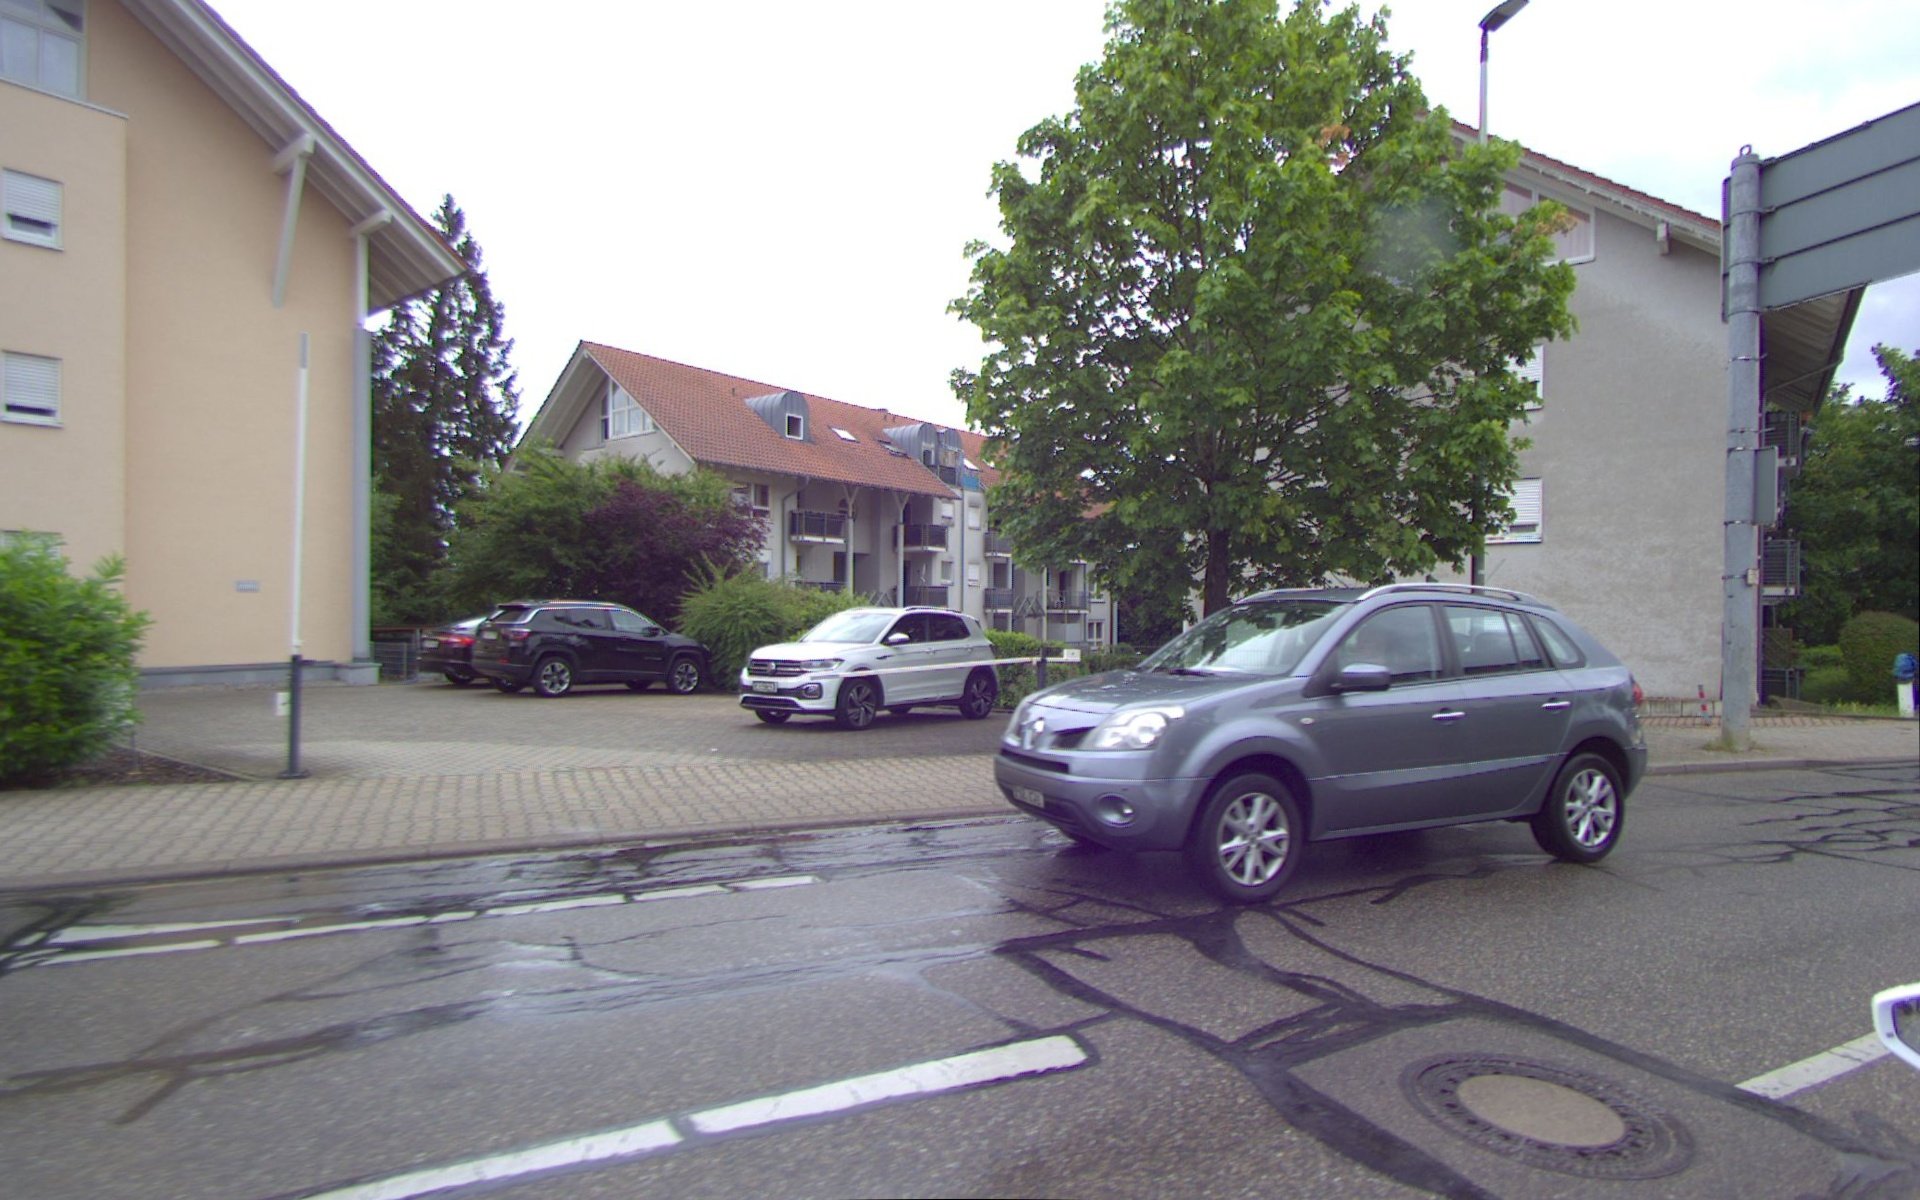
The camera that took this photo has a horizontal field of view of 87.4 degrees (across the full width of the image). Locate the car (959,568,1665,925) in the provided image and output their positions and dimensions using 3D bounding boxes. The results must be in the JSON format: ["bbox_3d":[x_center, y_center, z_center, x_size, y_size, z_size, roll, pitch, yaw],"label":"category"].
[{"bbox_3d":[2.297,0.758,6.501,4.209,1.679,1.896,2,-2,-25],"label":"car"}]

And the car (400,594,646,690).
[{"bbox_3d":[-8.564,0.852,19.921,1.971,1.672,3.979,1,-2,42],"label":"car"}]

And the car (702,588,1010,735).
[{"bbox_3d":[-1.279,0.811,13.799,1.968,1.672,3.986,1,-2,37],"label":"car"}]

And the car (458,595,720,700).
[{"bbox_3d":[-6.651,0.875,18.287,1.972,1.672,3.978,1,-2,43],"label":"car"}]
